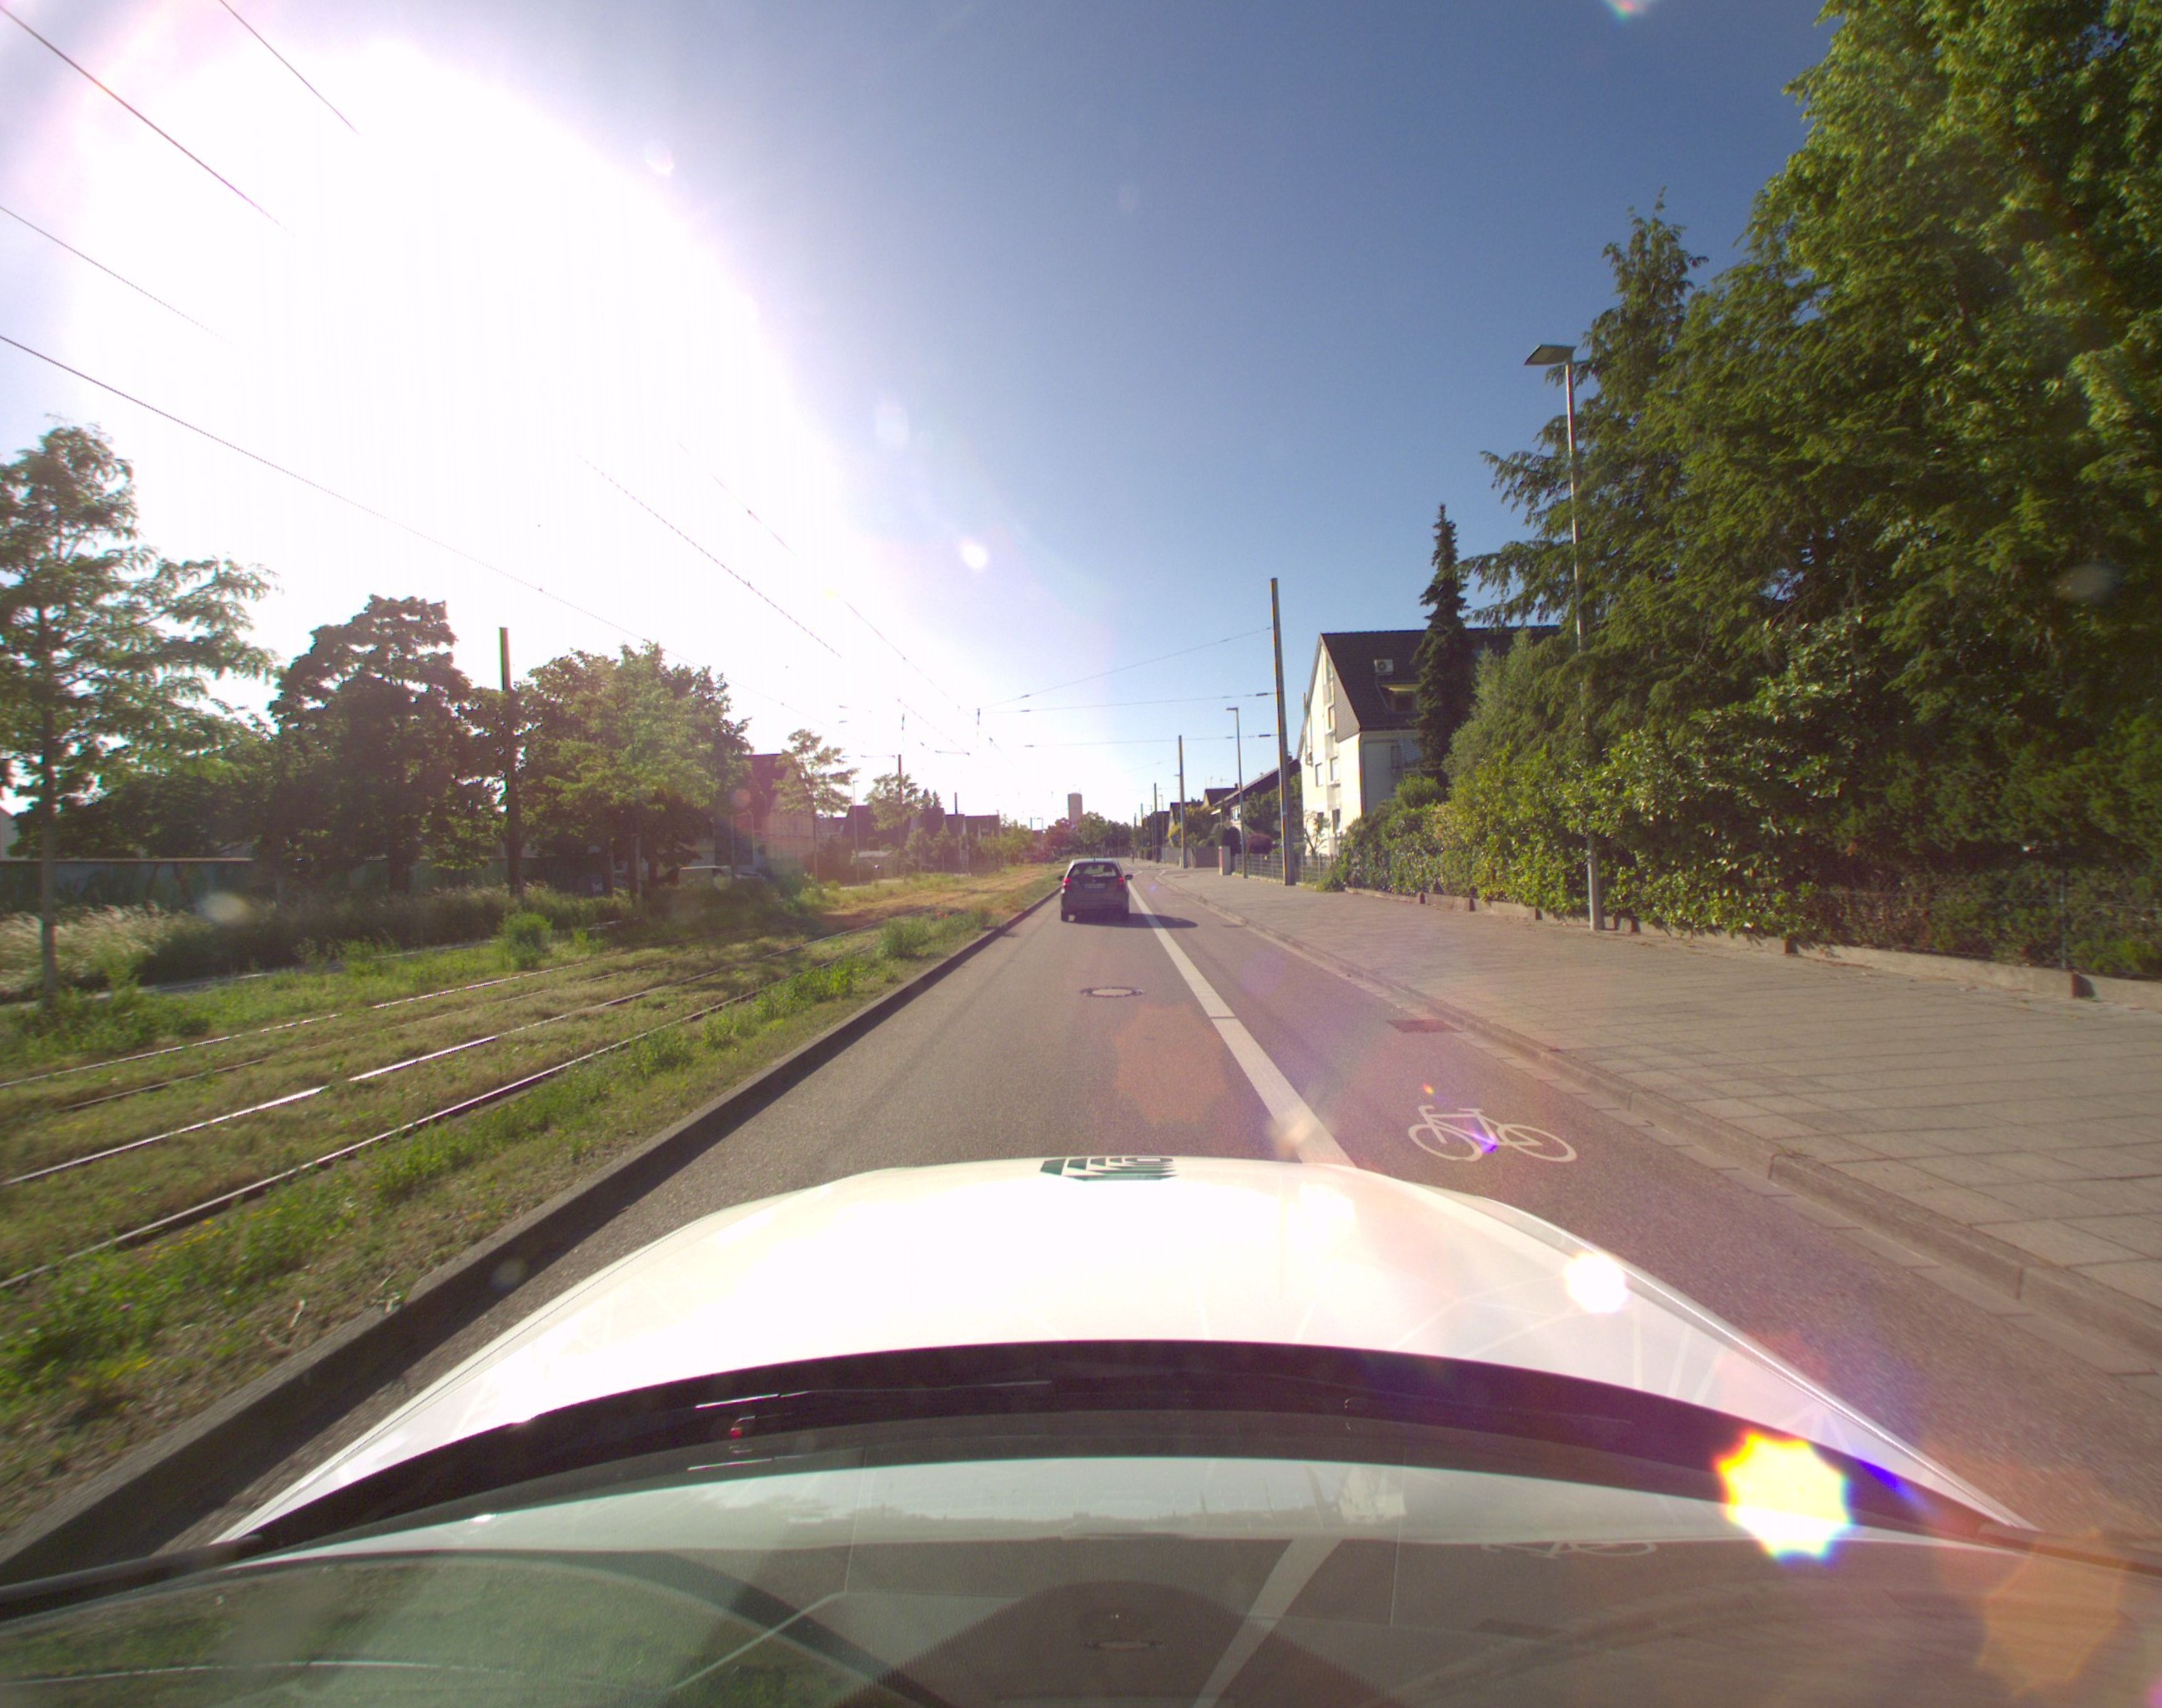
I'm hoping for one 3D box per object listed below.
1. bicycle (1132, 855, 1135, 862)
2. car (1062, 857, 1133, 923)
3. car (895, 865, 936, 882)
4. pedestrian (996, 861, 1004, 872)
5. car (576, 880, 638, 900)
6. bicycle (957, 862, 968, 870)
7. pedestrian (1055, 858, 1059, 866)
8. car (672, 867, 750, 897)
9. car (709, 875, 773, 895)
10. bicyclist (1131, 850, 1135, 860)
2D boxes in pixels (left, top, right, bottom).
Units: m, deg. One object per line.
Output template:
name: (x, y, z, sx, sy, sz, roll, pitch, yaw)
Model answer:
bicycle: (8.310, 0.698, 128.727, 0.473, 0.961, 1.658, 0, -1, 2)
car: (0.398, 0.869, 20.872, 1.665, 1.536, 3.486, 0, -1, 0)
car: (-19.666, 2.303, 96.937, 4.540, 1.734, 2.046, -2, 0, -10)
pedestrian: (-12.677, 2.004, 127.578, 0.961, 1.640, 1.086, -2, -1, 2)
car: (-35.611, 2.714, 61.239, 3.717, 1.346, 1.560, -2, -1, 0)
bicycle: (-20.811, 2.054, 143.008, 1.985, 1.366, 0.704, -2, -1, -5)
pedestrian: (-4.580, 1.545, 154.134, 0.673, 1.536, 0.748, -2, 0, -3)
car: (-26.525, 1.986, 58.528, 4.669, 1.914, 1.904, -2, -1, 1)
car: (-25.608, 2.346, 61.362, 3.973, 1.404, 1.853, -2, -3, 0)
bicyclist: (8.209, 0.162, 128.518, 0.596, 1.701, 0.684, 0, -1, 2)
